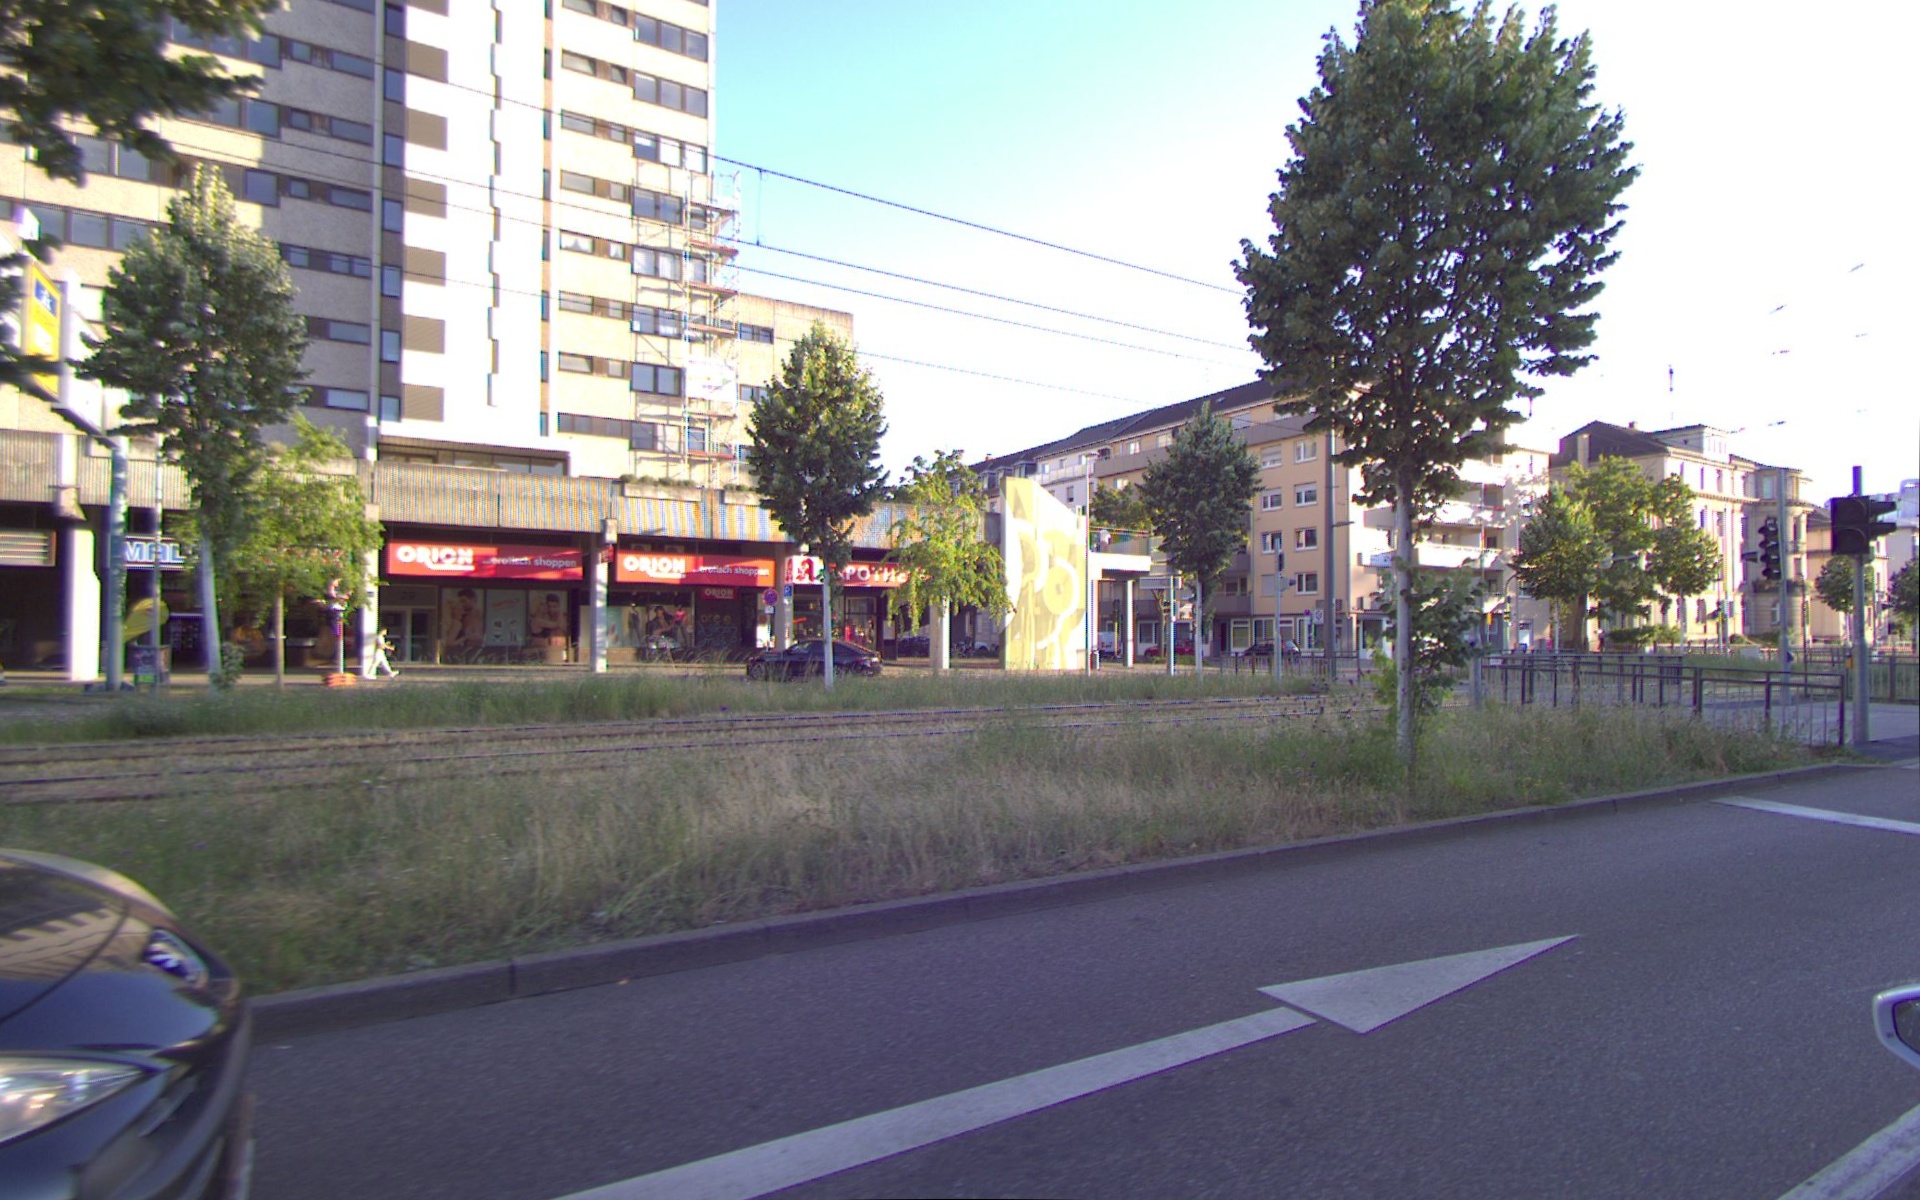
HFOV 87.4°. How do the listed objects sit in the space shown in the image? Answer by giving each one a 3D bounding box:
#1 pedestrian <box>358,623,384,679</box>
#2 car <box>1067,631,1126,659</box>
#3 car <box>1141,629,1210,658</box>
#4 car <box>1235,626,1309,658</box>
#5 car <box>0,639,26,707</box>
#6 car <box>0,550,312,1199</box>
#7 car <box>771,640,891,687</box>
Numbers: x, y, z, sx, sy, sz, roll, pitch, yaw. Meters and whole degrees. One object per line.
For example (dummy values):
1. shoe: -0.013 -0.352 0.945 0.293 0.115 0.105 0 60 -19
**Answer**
1. pedestrian: -18.065 1.550 30.806 0.653 1.683 0.661 1 0 -30
2. car: 10.221 3.356 75.608 2.142 2.016 4.464 1 -2 -31
3. car: 14.622 2.966 68.426 2.144 1.792 4.305 -1 -4 -33
4. car: 18.920 2.557 61.065 2.167 1.870 3.913 1 -2 -31
5. car: -23.334 1.598 22.566 4.050 1.455 1.825 1 0 21
6. car: -3.064 0.677 1.136 3.857 1.469 1.710 0 -1 -32
7. car: -4.322 2.079 33.527 3.663 1.469 1.741 -1 -2 29
